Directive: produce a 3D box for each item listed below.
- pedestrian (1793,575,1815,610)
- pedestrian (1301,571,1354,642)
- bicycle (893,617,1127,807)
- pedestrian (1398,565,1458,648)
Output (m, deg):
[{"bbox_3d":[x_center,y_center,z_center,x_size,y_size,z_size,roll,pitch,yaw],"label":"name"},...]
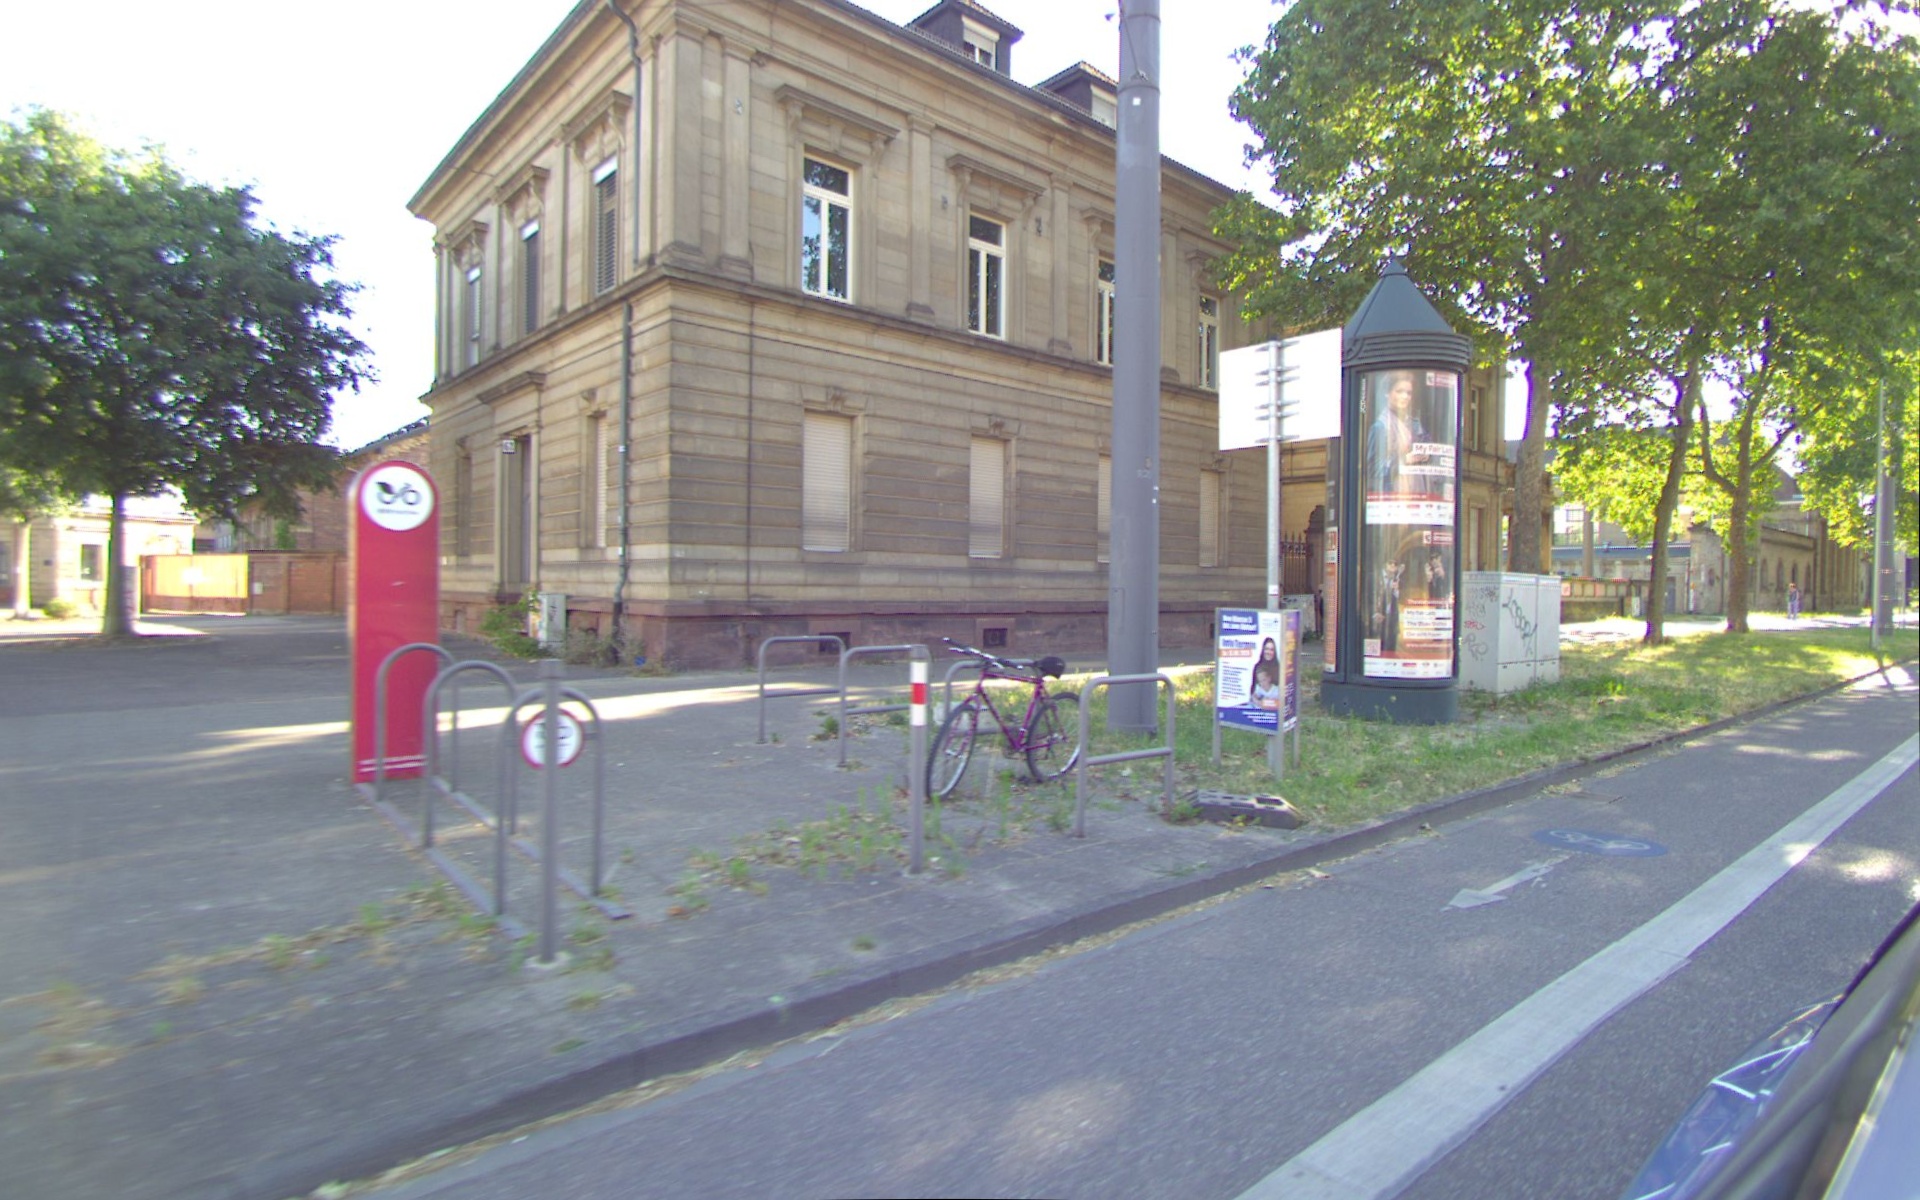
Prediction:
[{"bbox_3d":[41.576,-0.376,49.843,0.859,1.683,0.672,0,2,-40],"label":"pedestrian"},{"bbox_3d":[8.598,0.134,23.673,0.969,1.626,0.771,0,1,-40],"label":"pedestrian"},{"bbox_3d":[0.383,0.673,6.787,0.540,1.075,1.743,1,1,45],"label":"bicycle"},{"bbox_3d":[9.990,0.123,21.601,1.023,1.731,0.771,0,1,-40],"label":"pedestrian"}]
